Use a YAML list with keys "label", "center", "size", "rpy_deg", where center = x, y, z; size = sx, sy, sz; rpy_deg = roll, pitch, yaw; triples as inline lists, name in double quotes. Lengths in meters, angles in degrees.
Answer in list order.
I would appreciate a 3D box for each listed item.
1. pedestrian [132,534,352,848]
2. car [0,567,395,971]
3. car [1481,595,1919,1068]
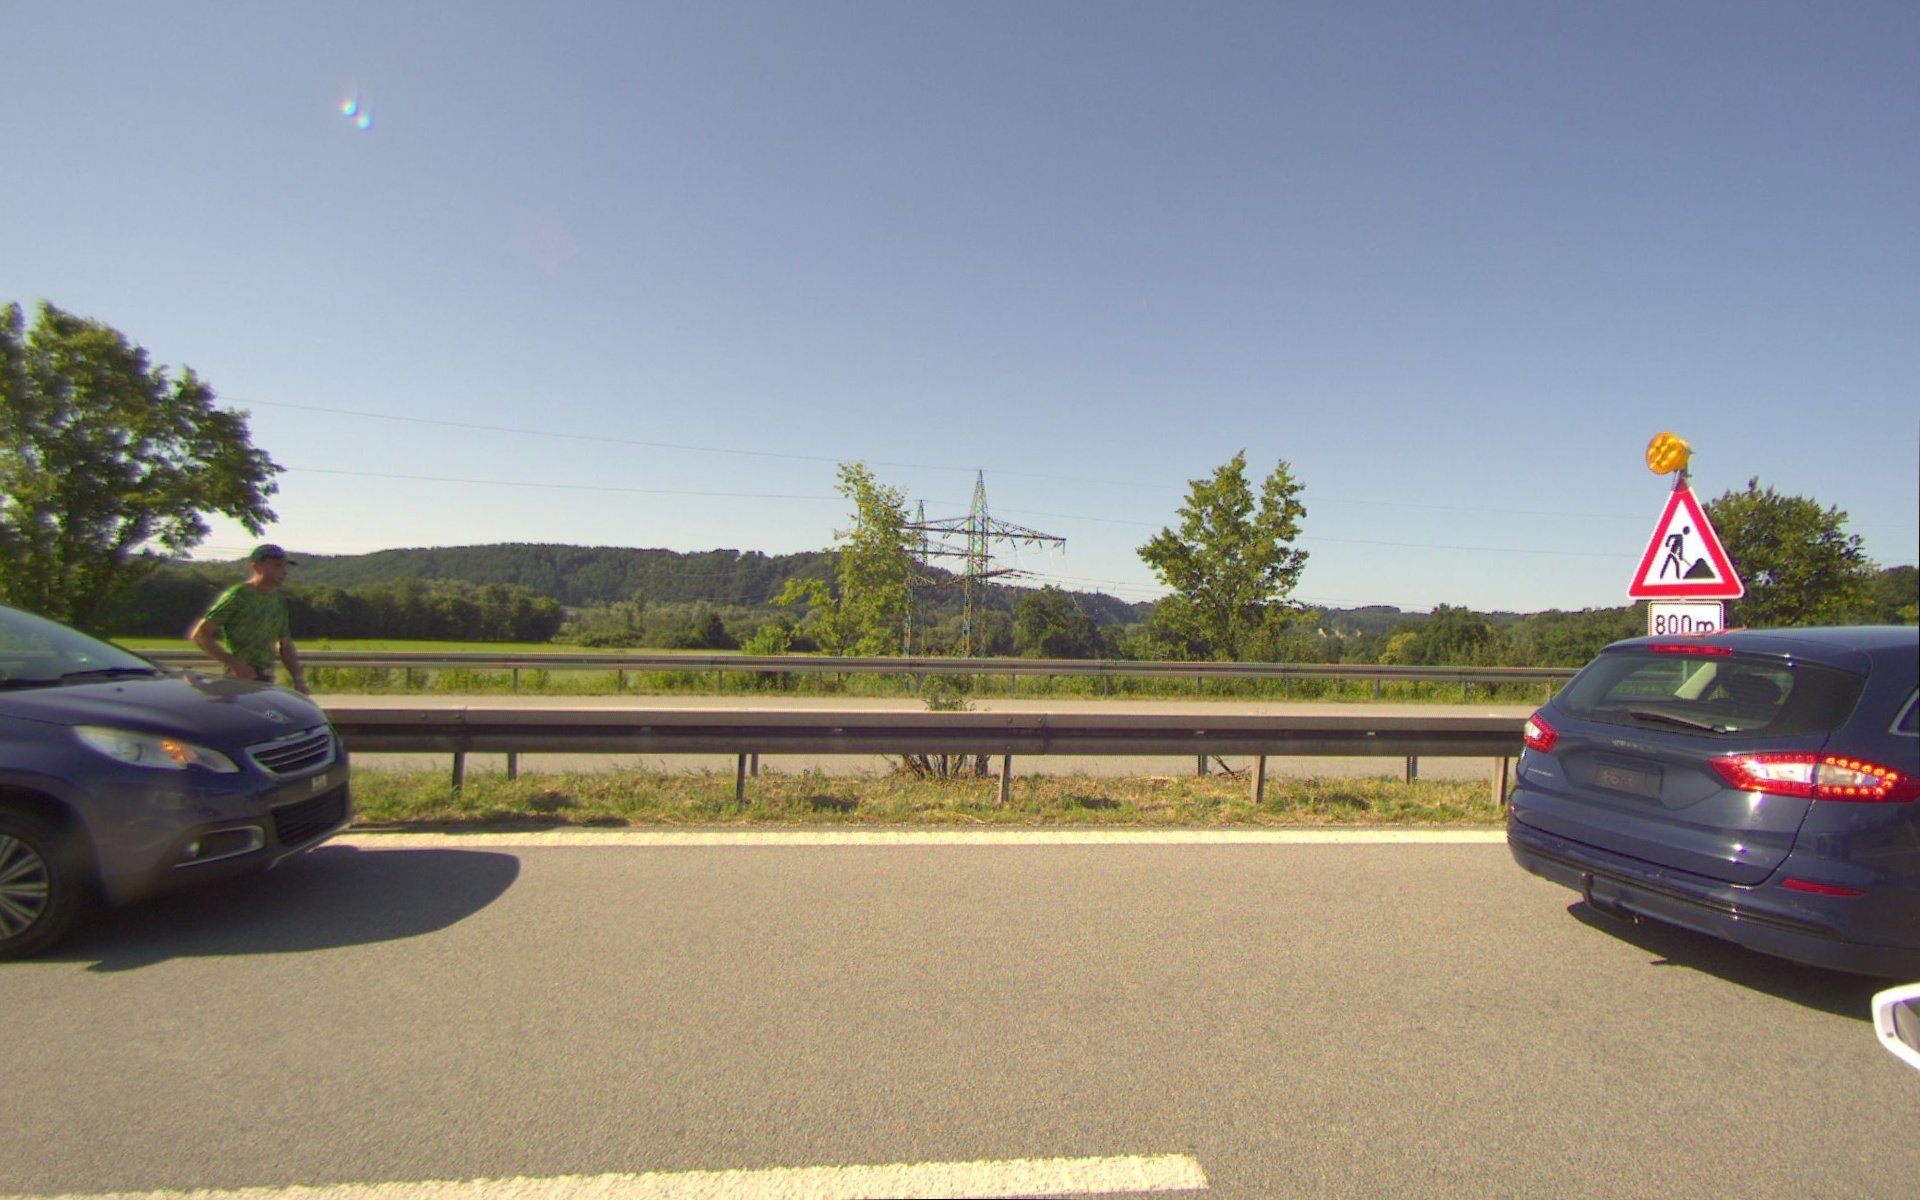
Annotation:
- label: "pedestrian"
  center: [-4.281, 0.527, 6.051]
  size: [0.799, 1.773, 0.672]
  rpy_deg: [1, -1, -6]
- label: "car"
  center: [-4.970, 0.614, 4.491]
  size: [3.877, 1.555, 1.690]
  rpy_deg: [1, 1, -10]
- label: "car"
  center: [4.929, 0.812, 4.663]
  size: [4.418, 1.513, 1.789]
  rpy_deg: [1, -1, -15]
